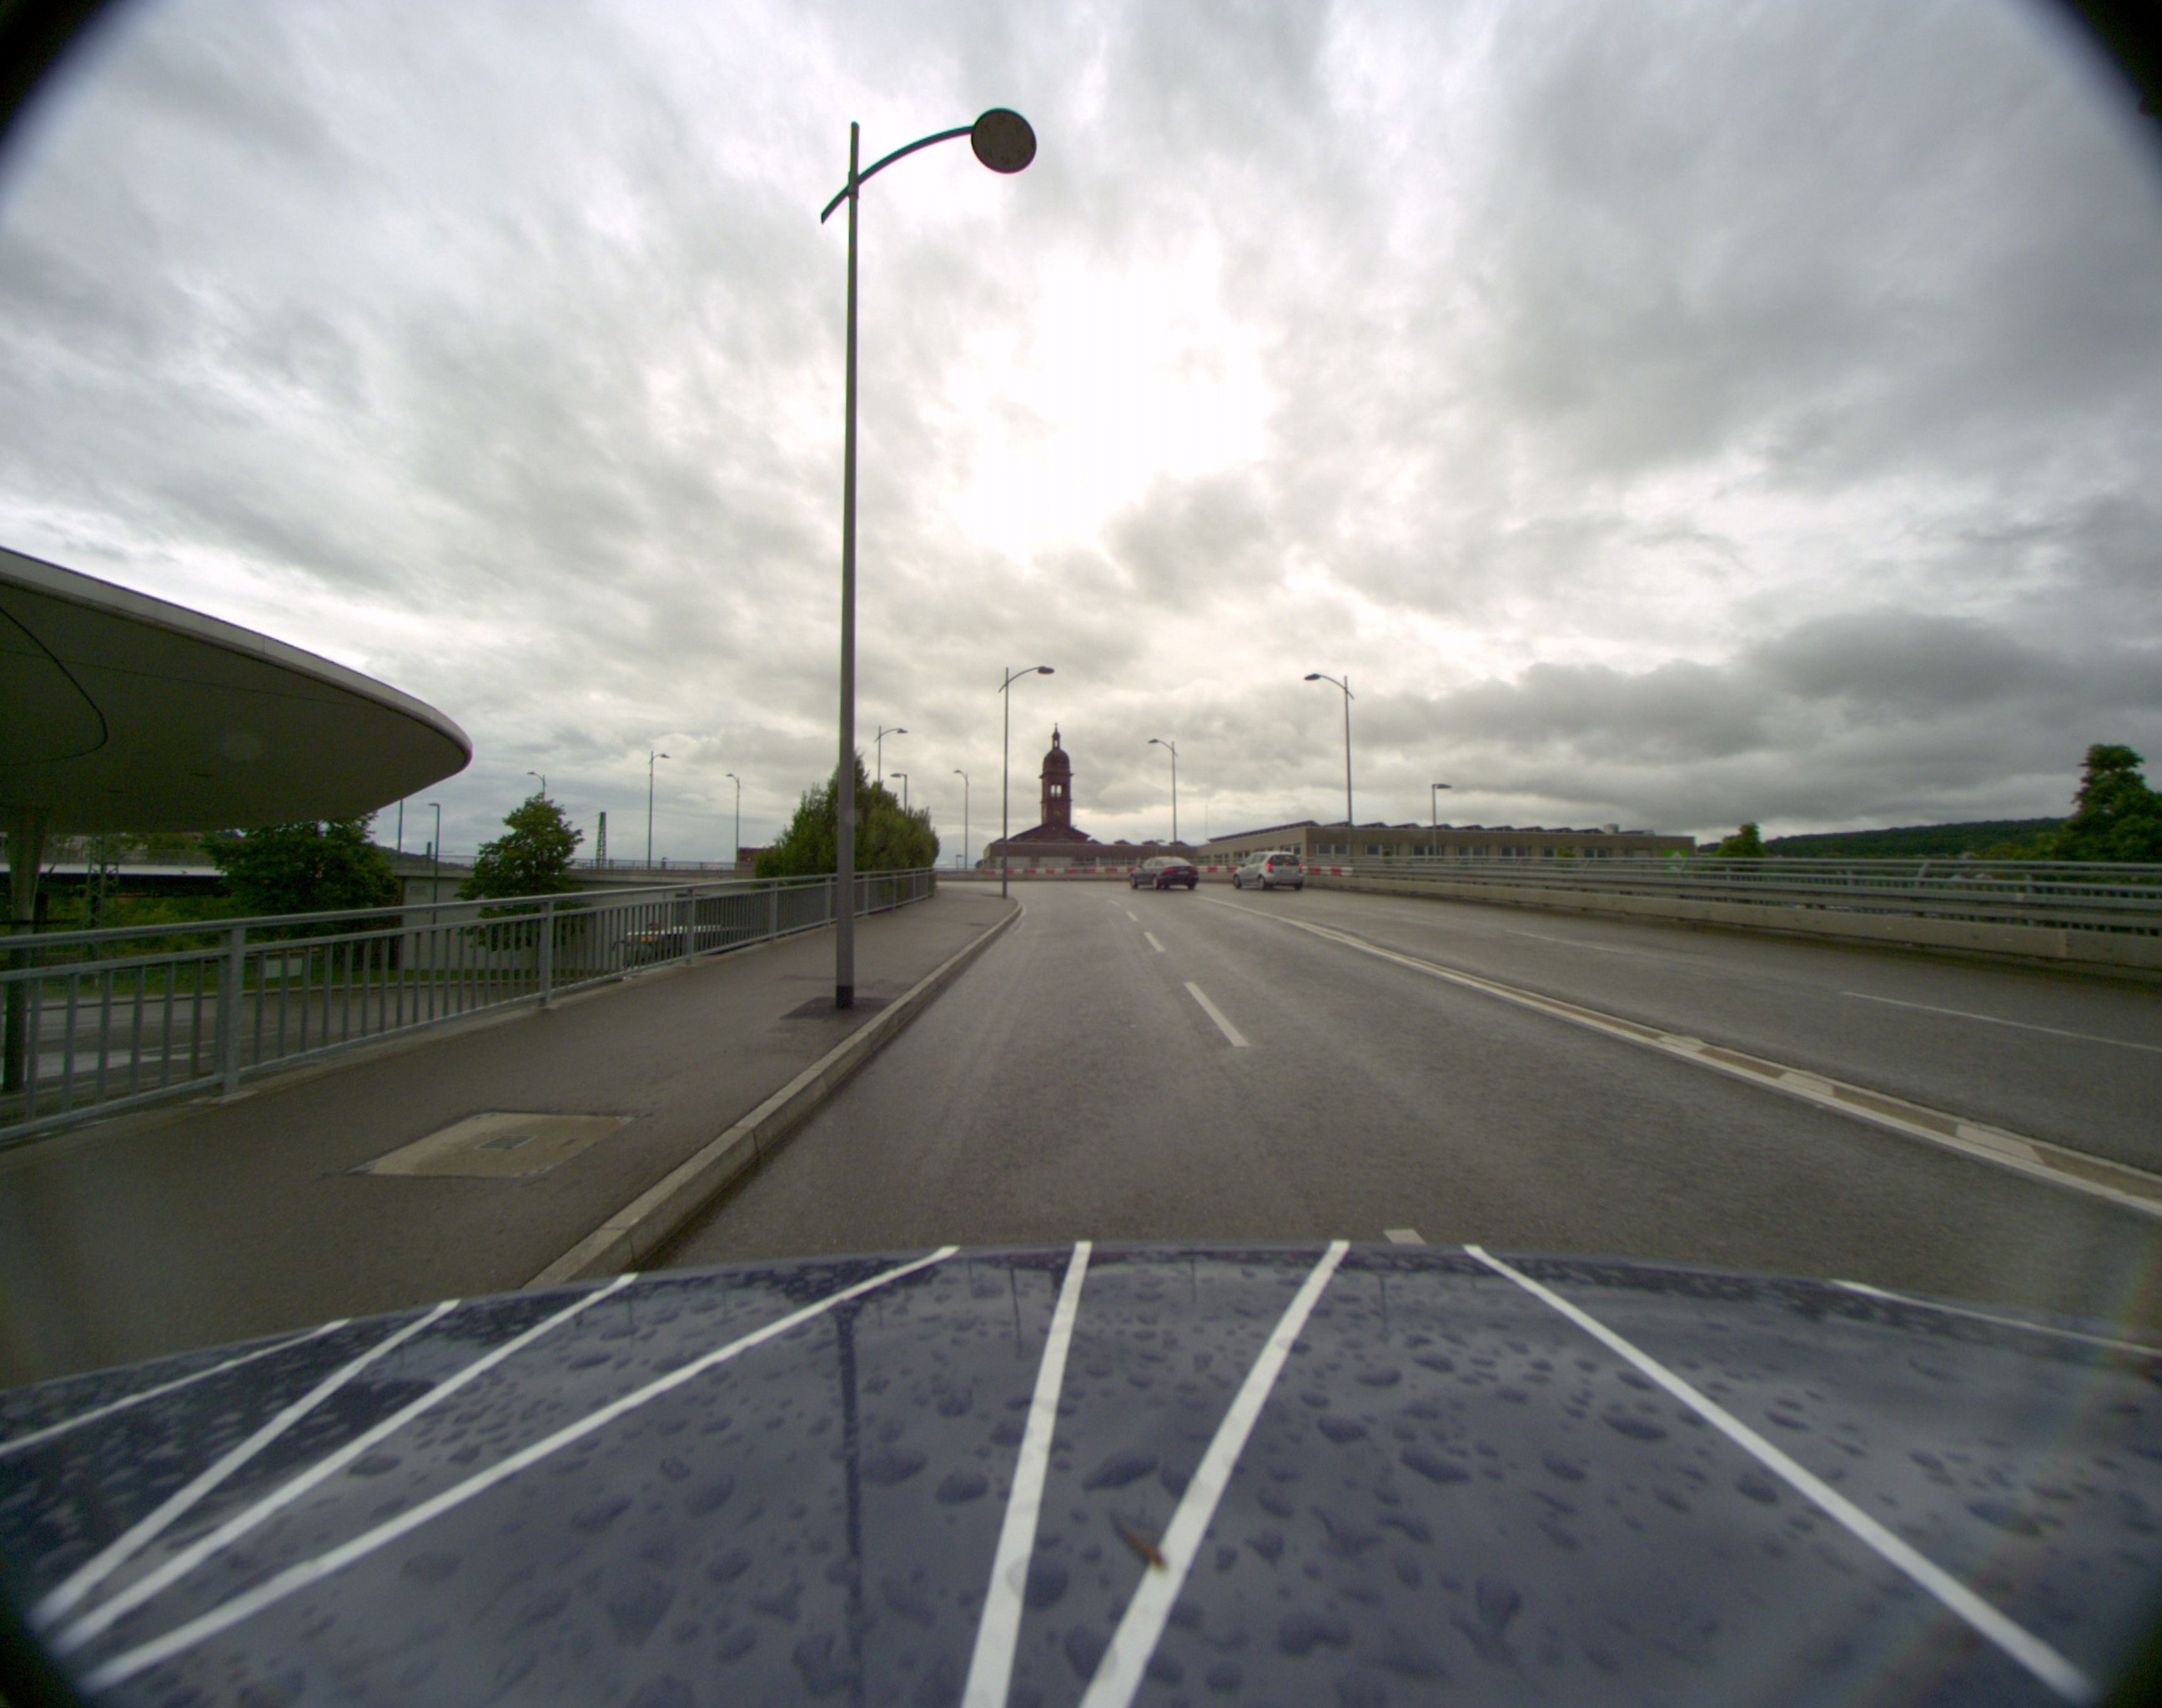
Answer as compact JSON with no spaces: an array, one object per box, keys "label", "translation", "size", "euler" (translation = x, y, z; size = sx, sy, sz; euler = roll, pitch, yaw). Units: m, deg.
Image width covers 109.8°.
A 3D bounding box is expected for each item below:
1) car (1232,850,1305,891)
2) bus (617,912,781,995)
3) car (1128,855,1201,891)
[{"label":"car","translation":[7.923,0.643,32.390],"size":[1.650,1.599,3.706],"euler":[0,1,-10]},{"label":"bus","translation":[-22.774,5.792,46.568],"size":[2.794,3.238,12.144],"euler":[-2,1,6]},{"label":"car","translation":[3.715,0.795,34.526],"size":[1.674,1.482,4.451],"euler":[0,1,-17]}]
